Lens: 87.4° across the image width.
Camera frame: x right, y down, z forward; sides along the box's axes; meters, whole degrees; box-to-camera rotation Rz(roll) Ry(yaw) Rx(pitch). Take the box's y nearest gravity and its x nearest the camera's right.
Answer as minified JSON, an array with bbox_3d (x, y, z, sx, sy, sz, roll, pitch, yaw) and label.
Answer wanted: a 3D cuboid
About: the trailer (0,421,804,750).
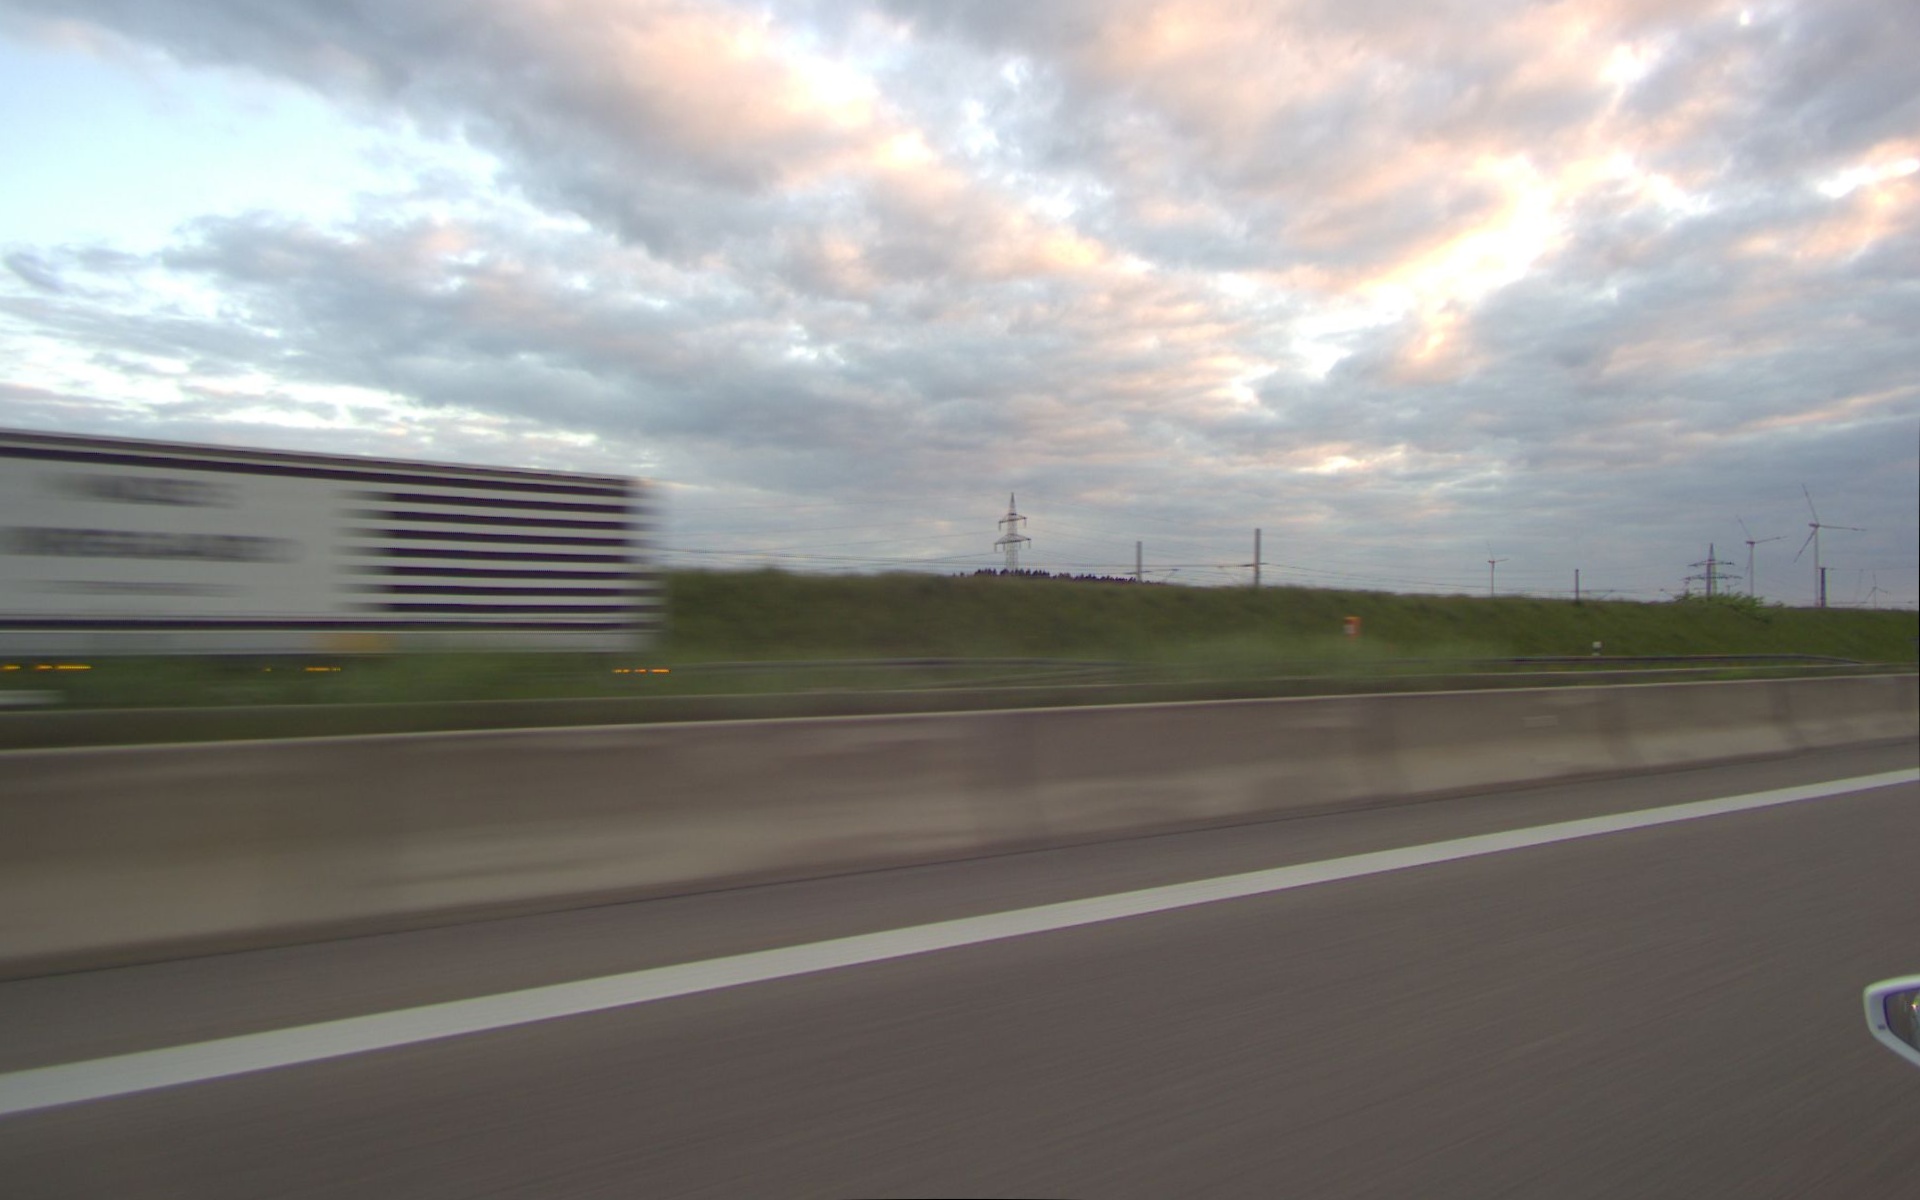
[{"bbox_3d":[-9.927,-0.048,15.503,14.926,4.168,2.675,1,-3,-29],"label":"trailer"}]
